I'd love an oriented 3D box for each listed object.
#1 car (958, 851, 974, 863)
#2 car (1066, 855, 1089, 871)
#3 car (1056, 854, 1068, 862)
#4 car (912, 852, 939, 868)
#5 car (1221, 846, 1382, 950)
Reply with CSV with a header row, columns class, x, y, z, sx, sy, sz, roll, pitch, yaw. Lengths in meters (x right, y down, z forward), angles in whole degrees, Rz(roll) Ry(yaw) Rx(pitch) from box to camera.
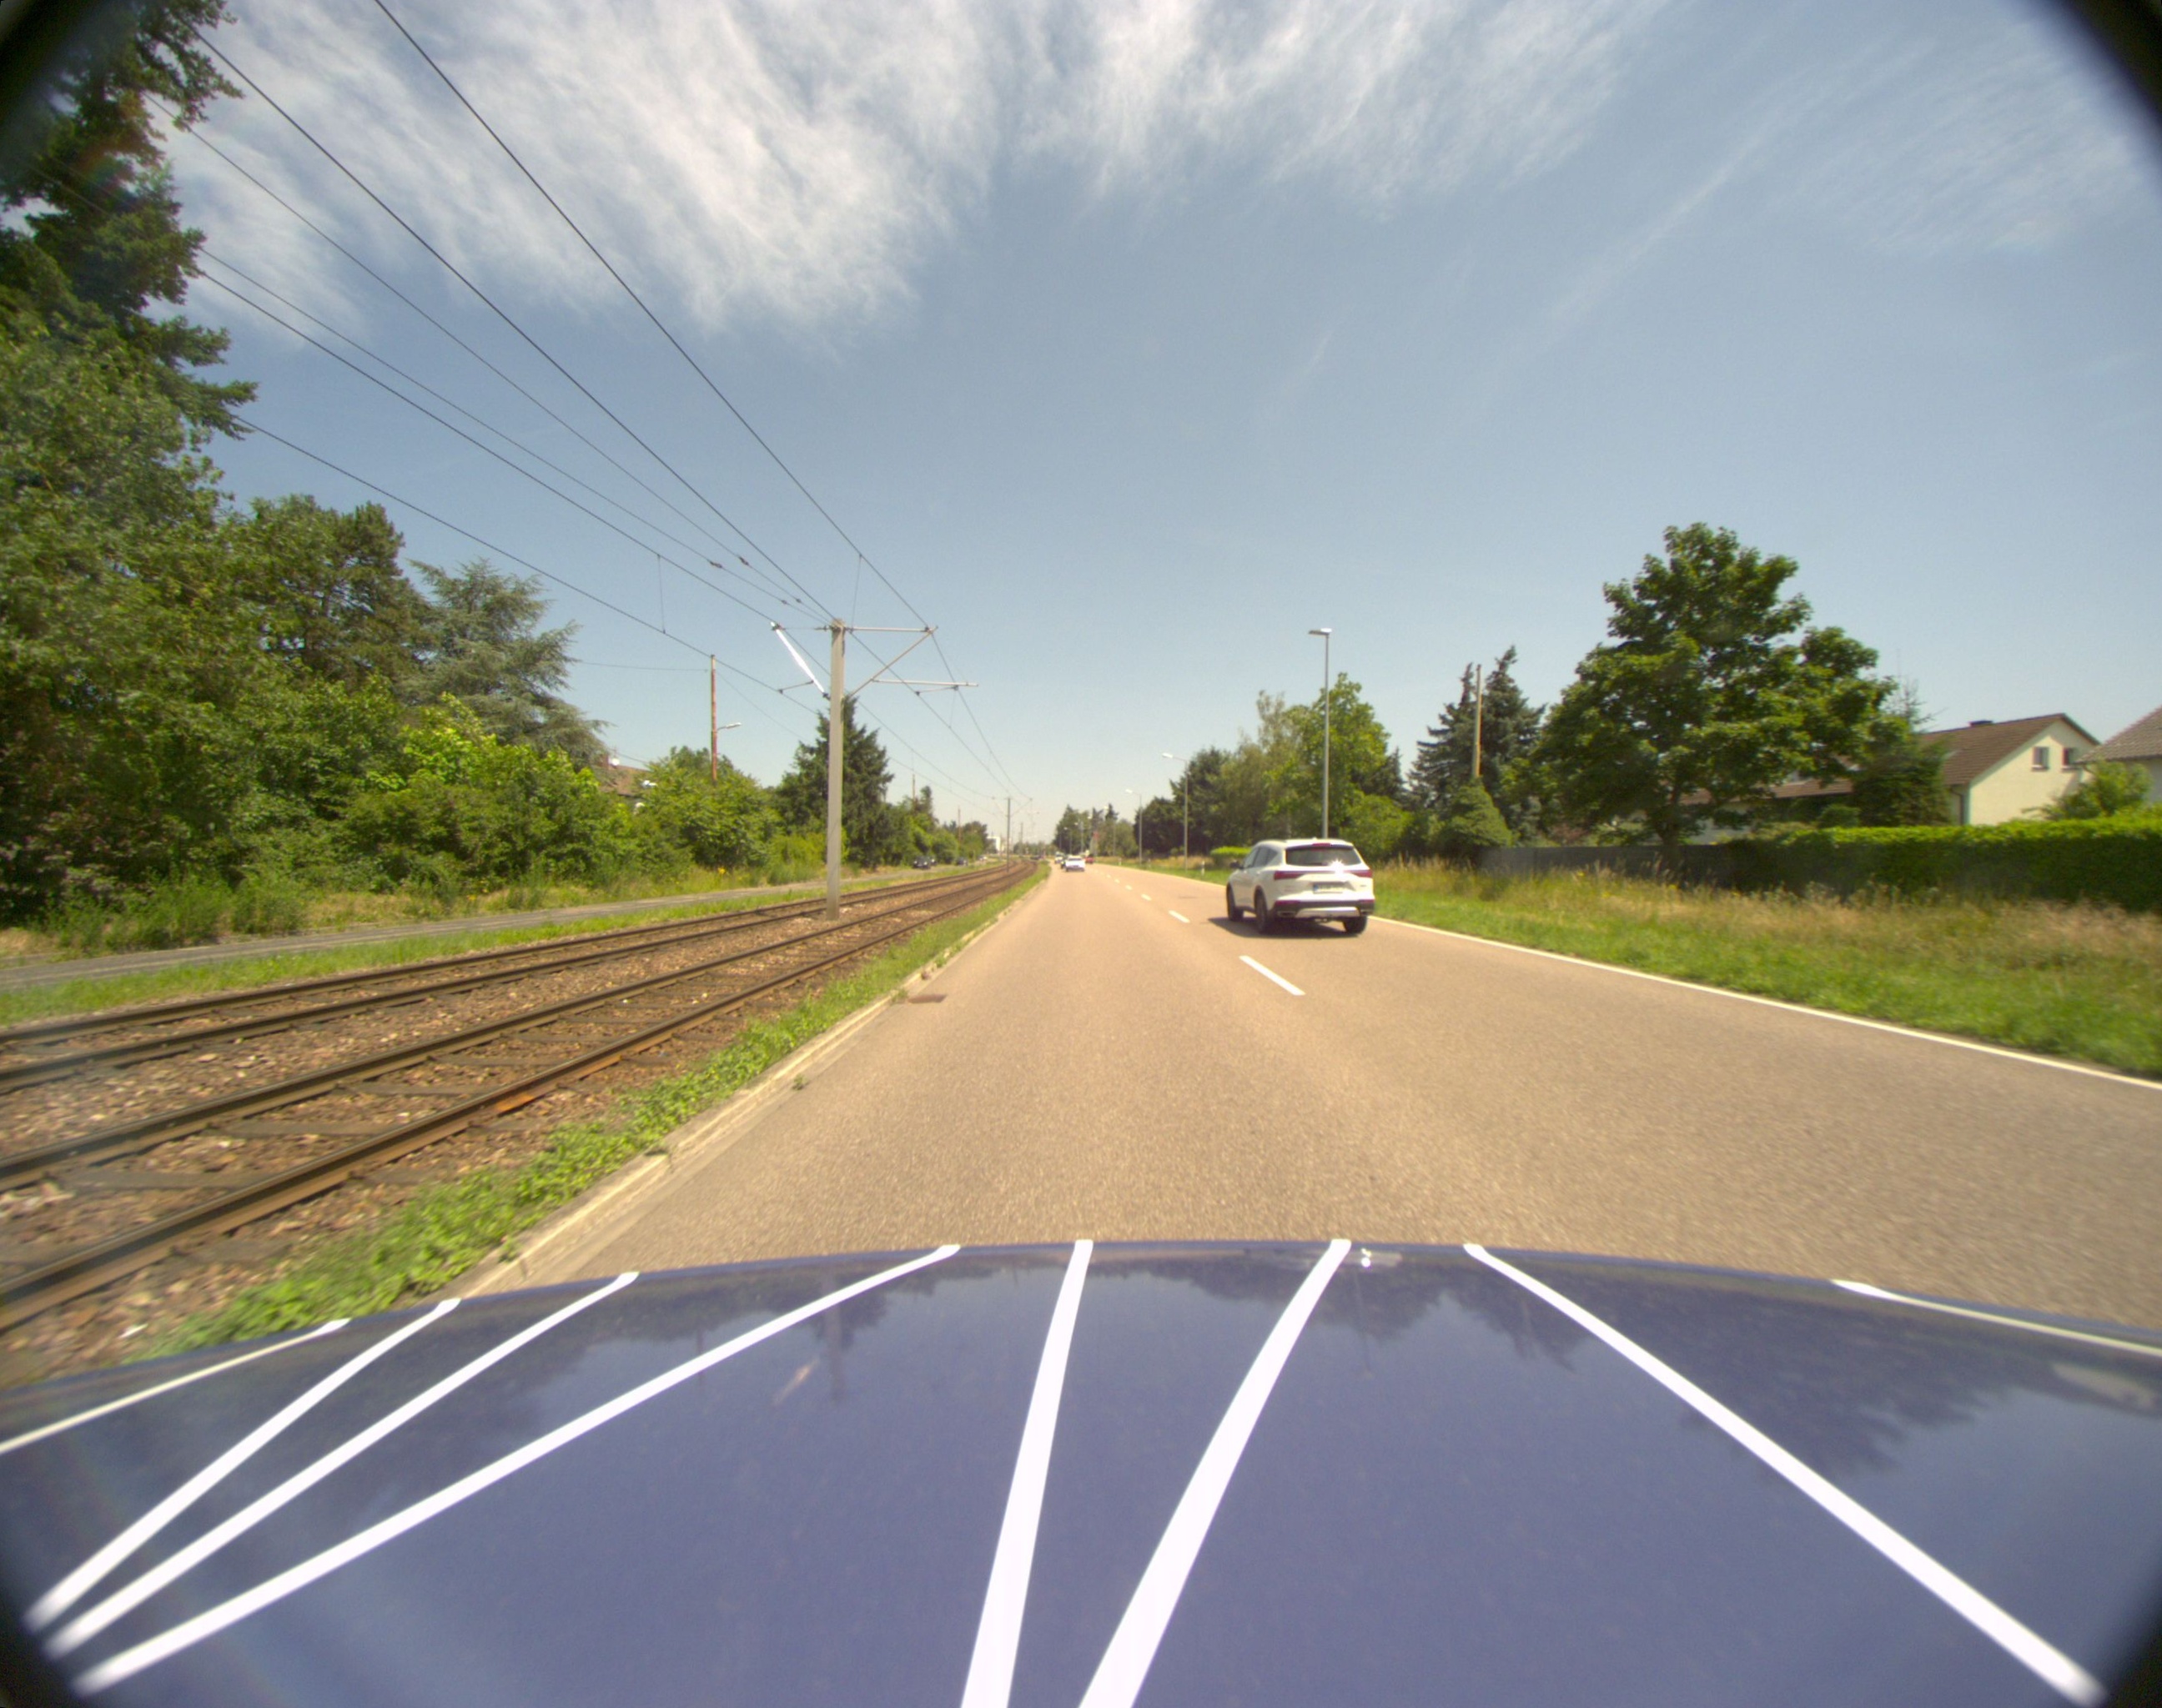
class,x,y,z,sx,sy,sz,roll,pitch,yaw
car,-17.596,0.485,116.588,1.946,1.685,3.998,-2,1,-3
car,-0.376,0.803,73.141,1.955,1.467,4.360,0,0,-3
car,-3.432,0.701,137.088,1.891,1.456,3.998,0,0,-4
car,-17.196,0.633,84.291,1.998,1.710,3.999,-2,1,1
car,4.182,0.740,15.311,1.844,1.749,4.932,0,0,1
